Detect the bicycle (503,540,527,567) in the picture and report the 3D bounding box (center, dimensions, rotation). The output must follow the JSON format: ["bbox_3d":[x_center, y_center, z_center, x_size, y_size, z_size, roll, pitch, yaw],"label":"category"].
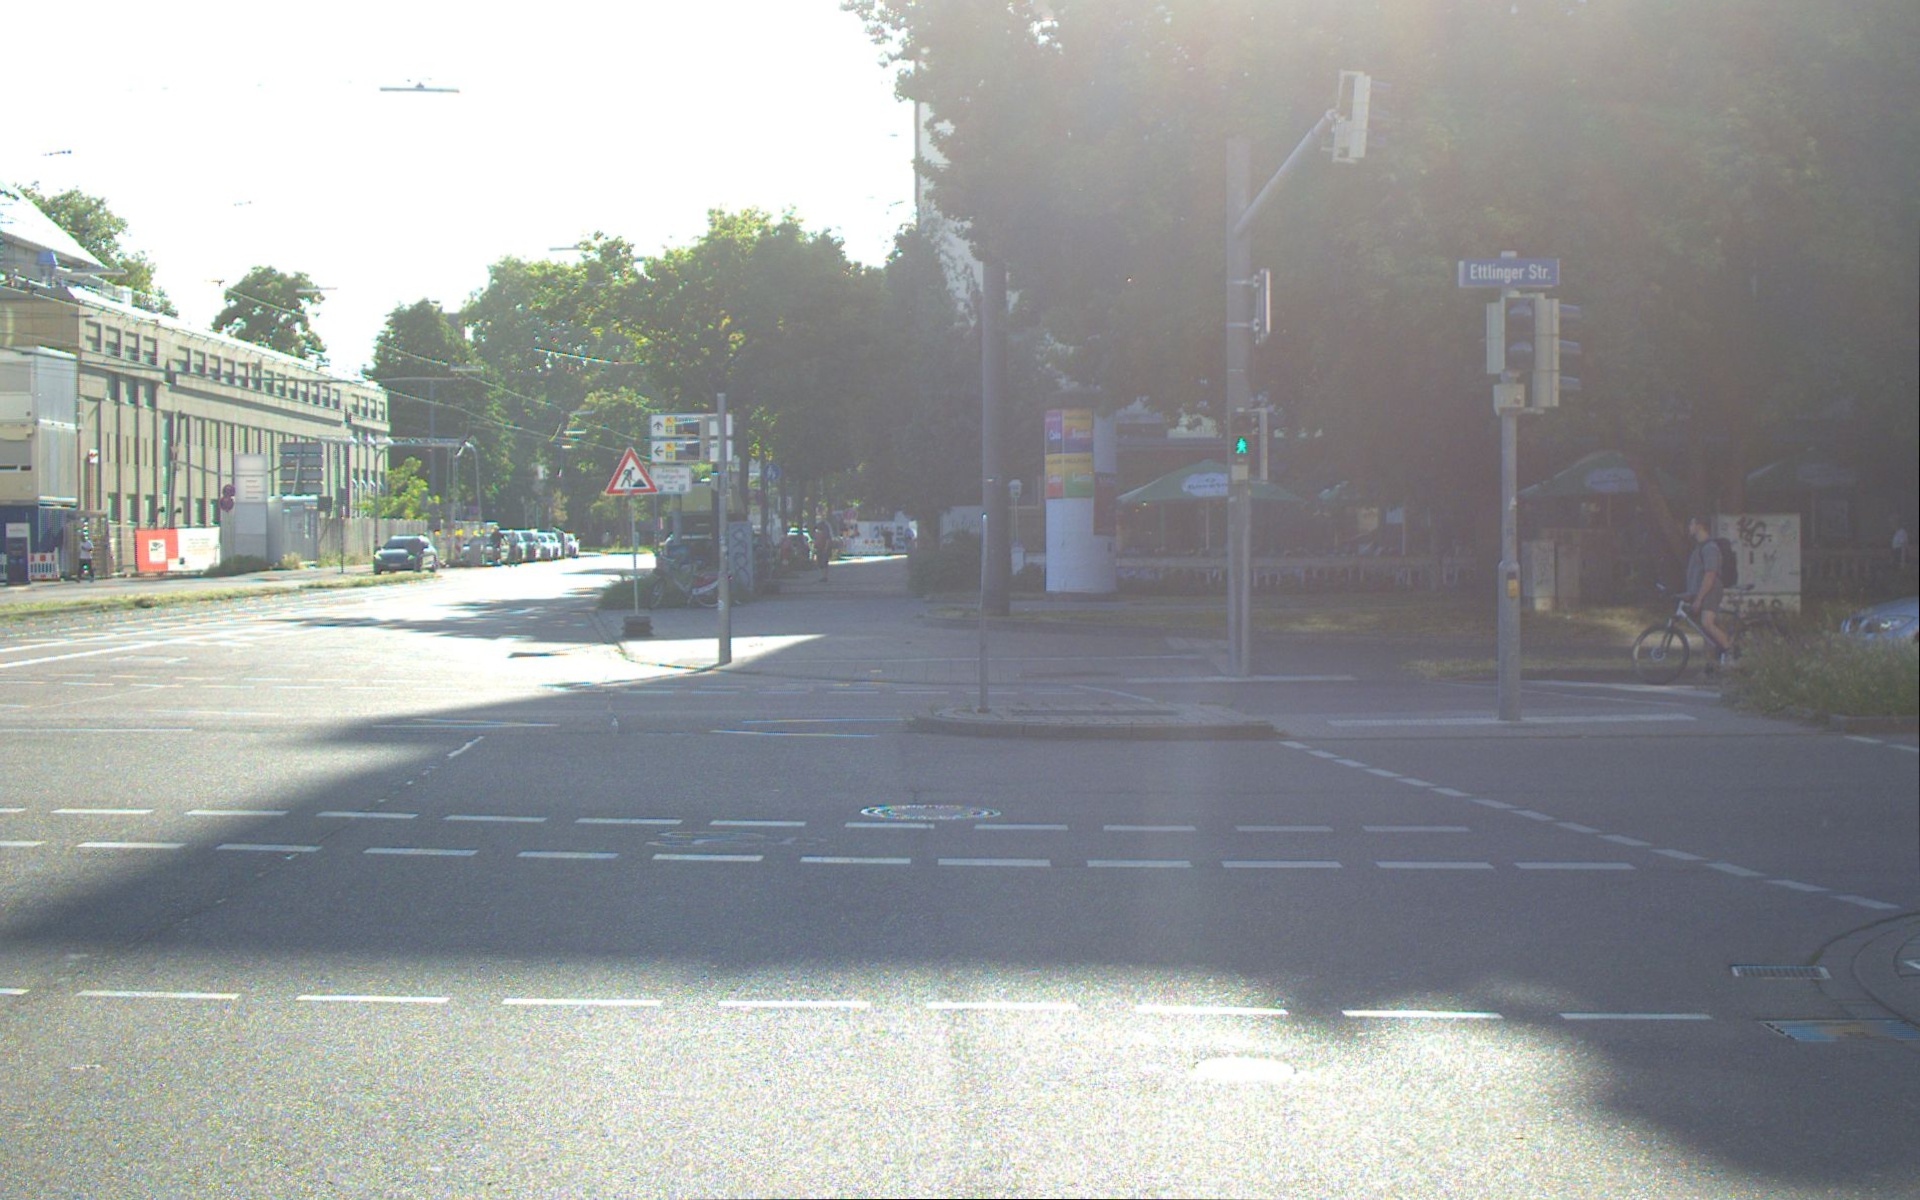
[{"bbox_3d":[-20.004,-2.101,154.439,0.750,1.201,3.108,1,1,-2],"label":"bicycle"}]

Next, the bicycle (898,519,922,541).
[{"bbox_3d":[-2.939,-4.079,200.429,0.890,1.215,2.794,1,1,-12],"label":"bicycle"}]

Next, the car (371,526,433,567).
[{"bbox_3d":[-22.009,-2.119,135.749,1.993,1.593,4.001,0,1,-3],"label":"car"}]

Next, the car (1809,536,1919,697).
[{"bbox_3d":[10.832,0.173,33.559,4.576,1.511,2.000,1,0,0],"label":"car"}]

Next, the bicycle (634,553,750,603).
[{"bbox_3d":[-5.242,-0.437,67.197,2.244,0.937,0.654,-1,1,-5],"label":"bicycle"}]

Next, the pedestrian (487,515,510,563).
[{"bbox_3d":[-19.891,-2.619,148.202,0.751,2.056,1.050,1,0,5],"label":"pedestrian"}]

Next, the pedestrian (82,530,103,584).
[{"bbox_3d":[-30.636,-1.524,121.393,0.588,1.883,0.478,1,0,-1],"label":"pedestrian"}]

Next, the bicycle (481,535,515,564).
[{"bbox_3d":[-19.897,-2.173,148.141,0.751,1.201,3.107,1,1,5],"label":"bicycle"}]

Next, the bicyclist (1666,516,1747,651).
[{"bbox_3d":[7.887,-0.177,36.365,0.747,1.401,0.702,1,0,6],"label":"bicyclist"}]

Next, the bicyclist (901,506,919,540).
[{"bbox_3d":[-2.907,-4.483,200.344,0.890,2.007,0.749,1,0,-12],"label":"bicyclist"}]

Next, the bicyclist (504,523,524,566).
[{"bbox_3d":[-20.015,-2.494,154.315,0.750,1.913,1.215,1,0,-2],"label":"bicyclist"}]

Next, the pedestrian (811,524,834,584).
[{"bbox_3d":[-3.896,-1.303,97.650,0.576,1.683,0.585,-1,1,-8],"label":"pedestrian"}]

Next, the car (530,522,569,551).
[{"bbox_3d":[-23.233,-3.588,194.682,1.993,1.638,4.001,-1,1,-4],"label":"car"}]

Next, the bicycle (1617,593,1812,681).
[{"bbox_3d":[7.969,0.386,36.366,1.944,0.886,0.718,1,0,6],"label":"bicycle"}]
